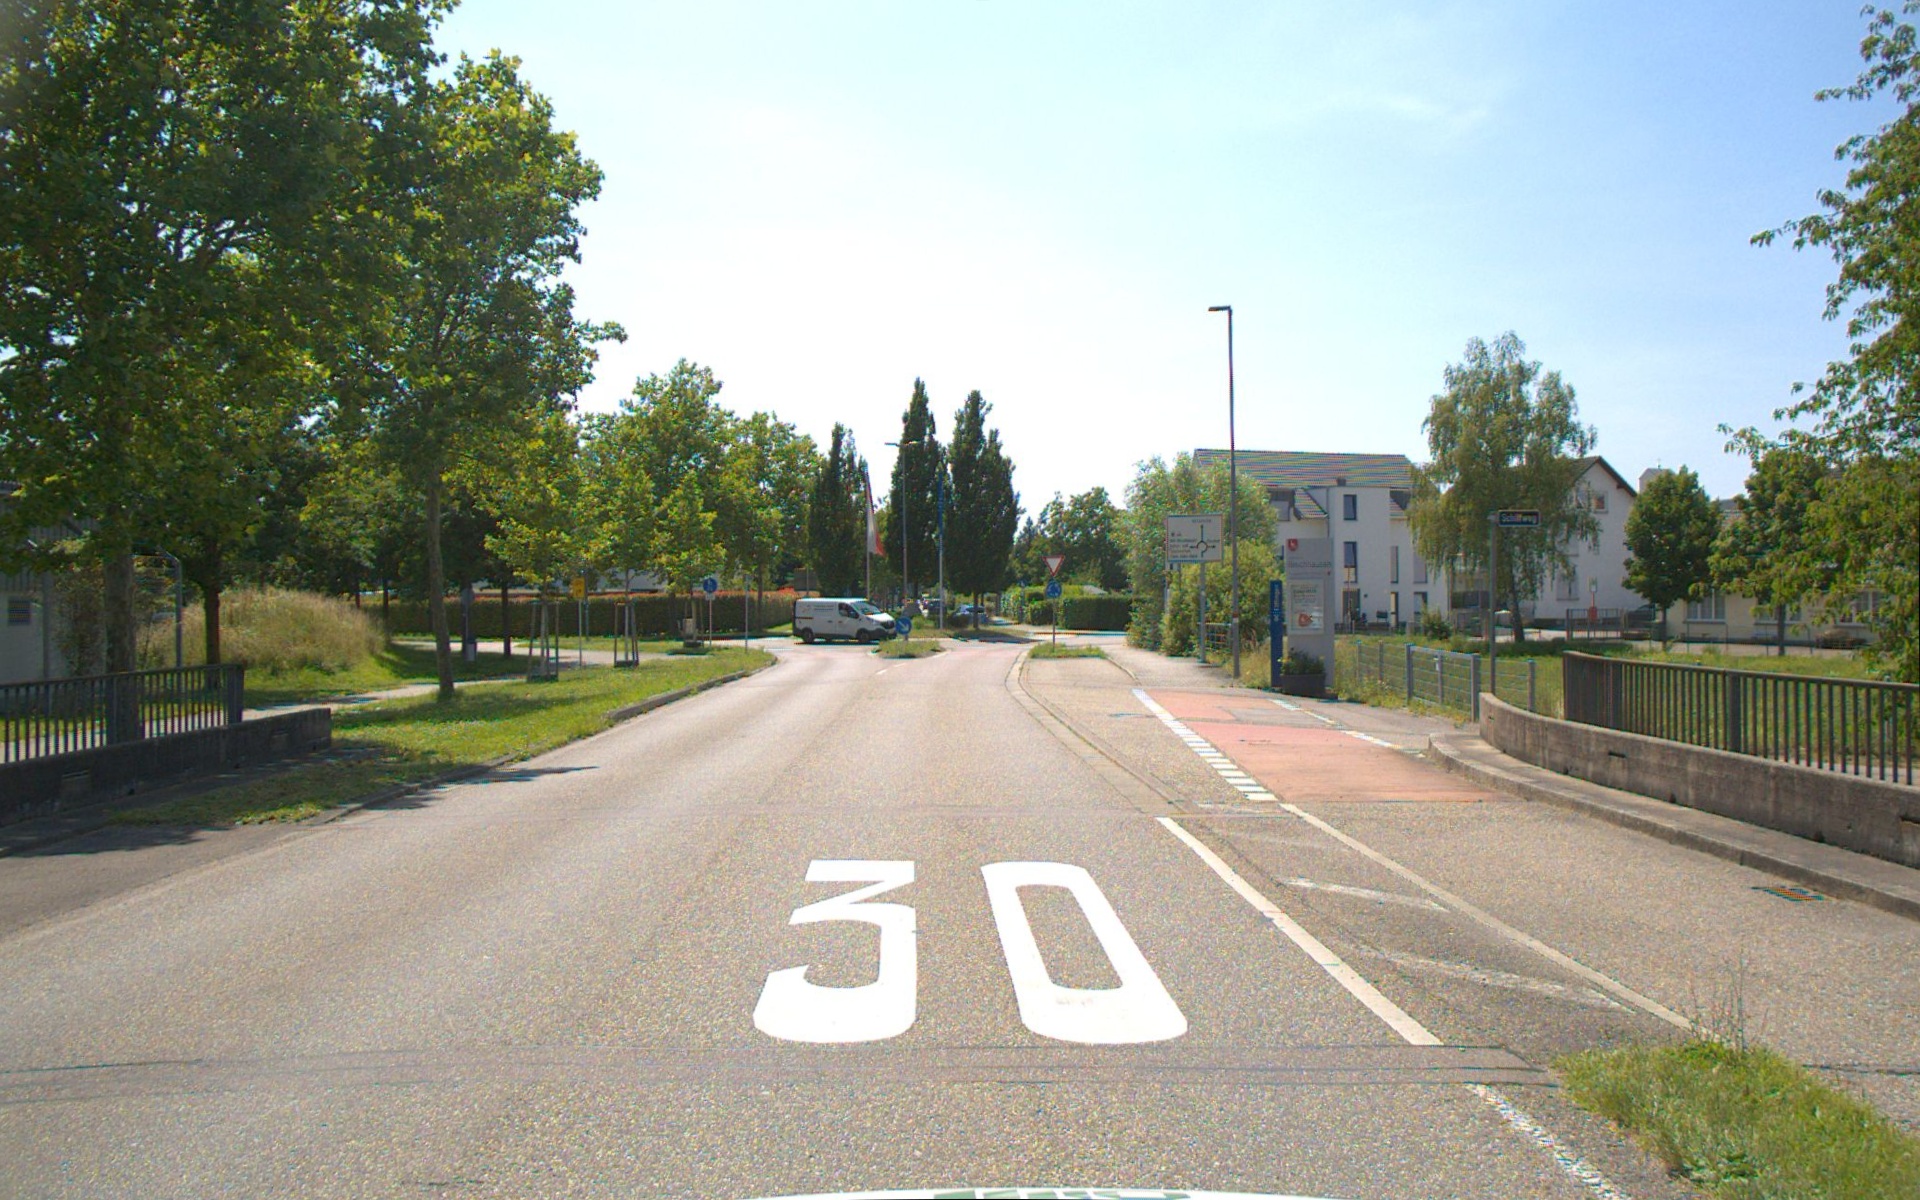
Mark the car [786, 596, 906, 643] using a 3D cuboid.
[{"bbox_3d":[-5.169,0.864,74.827,5.030,2.049,2.133,1,-1,26],"label":"car"}]

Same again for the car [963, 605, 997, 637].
[{"bbox_3d":[1.220,1.289,102.840,1.884,1.919,3.998,1,-1,-2],"label":"car"}]

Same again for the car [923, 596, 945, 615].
[{"bbox_3d":[-2.453,0.549,156.946,1.953,1.801,3.998,1,-1,-2],"label":"car"}]
